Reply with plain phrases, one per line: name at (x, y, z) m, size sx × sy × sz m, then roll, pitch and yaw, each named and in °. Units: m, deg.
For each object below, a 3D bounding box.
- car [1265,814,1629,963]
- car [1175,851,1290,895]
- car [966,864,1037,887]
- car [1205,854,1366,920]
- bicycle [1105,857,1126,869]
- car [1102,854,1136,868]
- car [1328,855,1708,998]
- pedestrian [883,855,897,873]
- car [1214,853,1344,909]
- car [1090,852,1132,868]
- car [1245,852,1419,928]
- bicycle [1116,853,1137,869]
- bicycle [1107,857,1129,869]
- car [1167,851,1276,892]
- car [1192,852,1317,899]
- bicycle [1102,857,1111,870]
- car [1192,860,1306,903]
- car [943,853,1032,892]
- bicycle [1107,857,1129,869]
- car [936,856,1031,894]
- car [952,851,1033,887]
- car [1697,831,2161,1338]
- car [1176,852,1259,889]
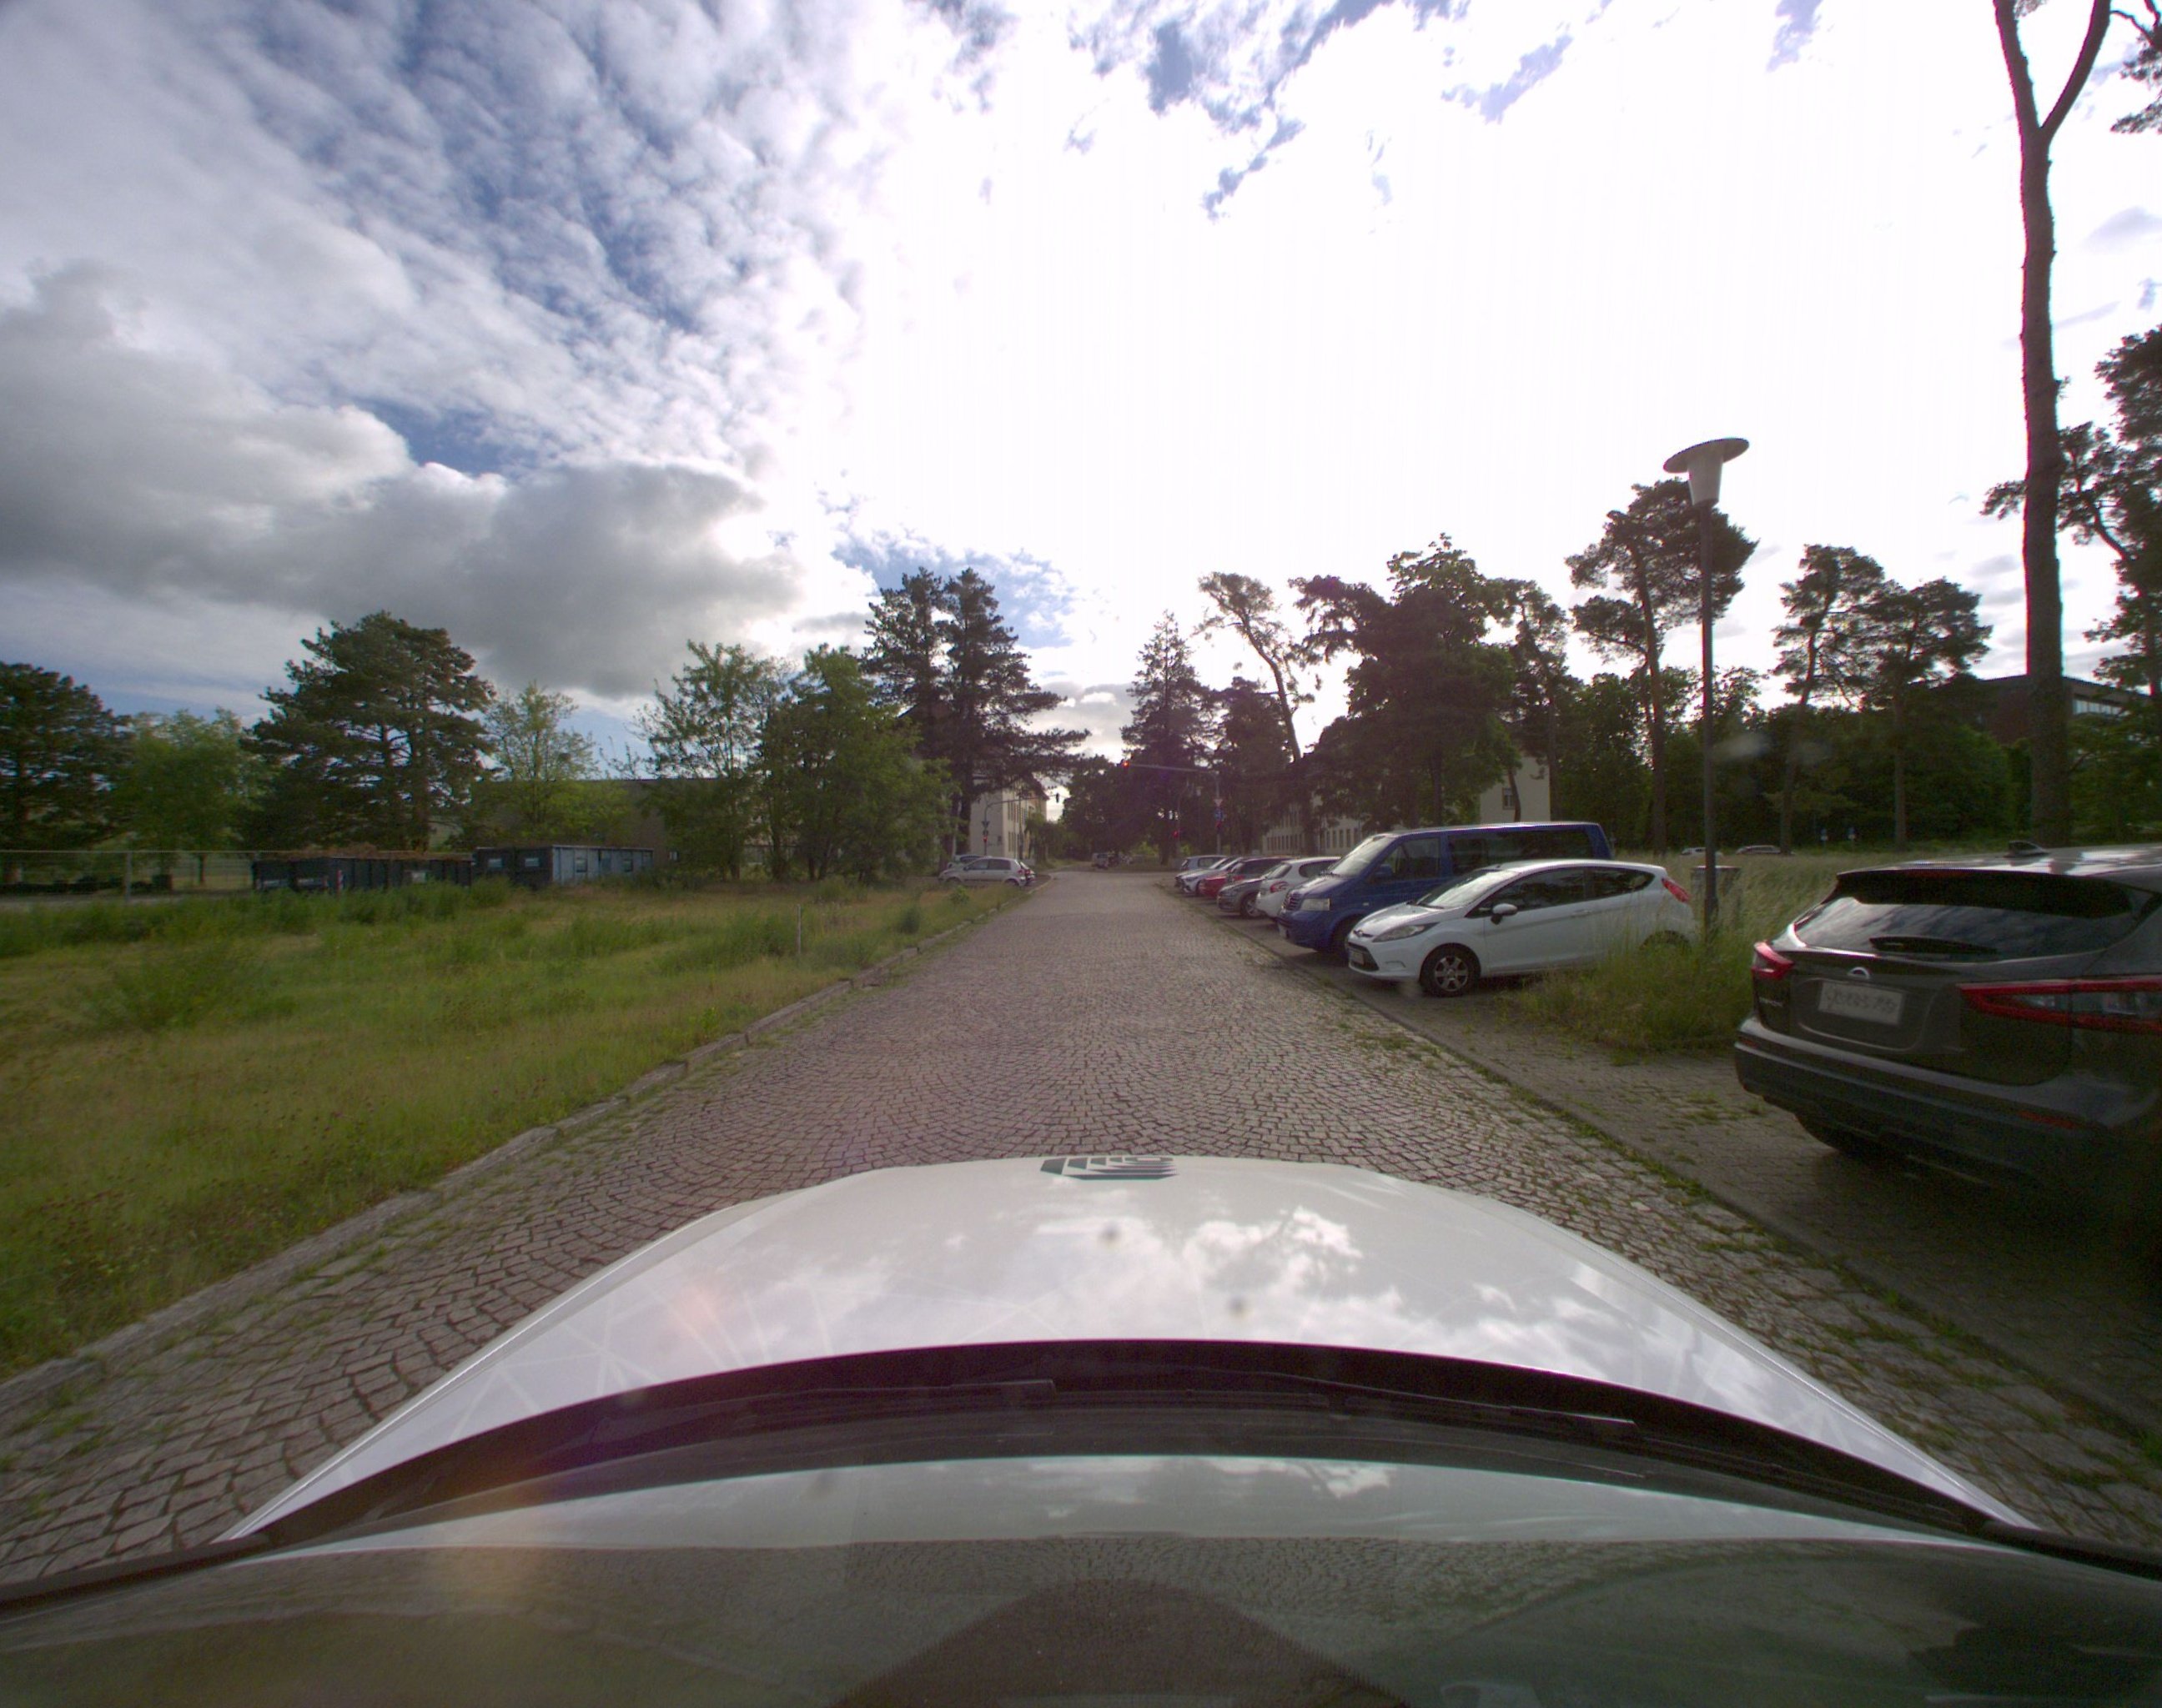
car at (5.382, 0.480, 12.375) m, size 4.768 × 2.040 × 1.737 m, roll -1°, pitch 0°, yaw -1°
car at (5.705, 0.701, 30.850) m, size 3.980 × 1.543 × 1.661 m, roll -1°, pitch 0°, yaw -5°
car at (-4.207, 1.129, 43.234) m, size 3.665 × 1.094 × 1.643 m, roll -1°, pitch 0°, yaw -5°
car at (5.152, 0.790, 20.721) m, size 3.597 × 1.506 × 1.659 m, roll -1°, pitch 0°, yaw -10°
bicycle at (3.690, 0.935, 86.991) m, size 2.157 × 1.268 × 0.811 m, roll -1°, pitch 0°, yaw -6°
car at (4.625, 0.833, 99.731) m, size 3.980 × 1.644 × 1.996 m, roll -1°, pitch 0°, yaw -5°
car at (5.119, 0.797, 9.881) m, size 3.712 × 1.424 × 1.653 m, roll -2°, pitch 0°, yaw -2°
pedestrian at (-16.352, 0.881, 69.654) m, size 0.895 × 1.498 × 0.905 m, roll -1°, pitch 0°, yaw 2°
car at (5.690, 0.744, 23.595) m, size 3.292 × 1.504 × 1.659 m, roll -1°, pitch 0°, yaw -10°
car at (3.739, 0.740, 103.020) m, size 5.050 × 2.013 × 1.994 m, roll -1°, pitch 0°, yaw -10°
car at (5.408, 0.748, 17.814) m, size 3.283 × 1.504 × 1.663 m, roll -1°, pitch 0°, yaw -1°
bicycle at (4.840, 0.757, 86.476) m, size 2.157 × 1.616 × 0.811 m, roll -1°, pitch 0°, yaw -6°
bicycle at (3.887, 0.912, 85.188) m, size 2.157 × 1.268 × 0.811 m, roll -1°, pitch 0°, yaw -6°
car at (5.756, 0.707, 33.607) m, size 4.115 × 1.543 × 1.661 m, roll -1°, pitch 0°, yaw -5°
car at (6.049, 0.727, 28.555) m, size 3.980 × 1.543 × 1.661 m, roll -1°, pitch 0°, yaw -5°
bicycle at (2.547, 0.960, 81.442) m, size 0.806 × 1.268 × 1.974 m, roll -1°, pitch 0°, yaw 2°
car at (5.377, 0.873, 26.313) m, size 3.287 × 1.267 × 1.661 m, roll -1°, pitch 0°, yaw -5°
car at (-4.308, 0.845, 37.965) m, size 3.981 × 1.706 × 1.996 m, roll -1°, pitch 0°, yaw -5°
bicycle at (3.897, 0.920, 85.775) m, size 2.157 × 1.268 × 0.811 m, roll -1°, pitch 0°, yaw -6°
car at (-4.208, 0.887, 35.475) m, size 3.981 × 1.552 × 1.996 m, roll -1°, pitch 0°, yaw -5°
car at (-4.436, 0.731, 41.037) m, size 3.982 × 1.750 × 1.923 m, roll -1°, pitch 0°, yaw -6°
car at (5.236, 0.691, 3.460) m, size 3.938 × 1.580 × 1.761 m, roll -1°, pitch 0°, yaw -1°
car at (6.045, 0.730, 36.175) m, size 3.383 × 1.543 × 1.389 m, roll -1°, pitch 0°, yaw -5°
